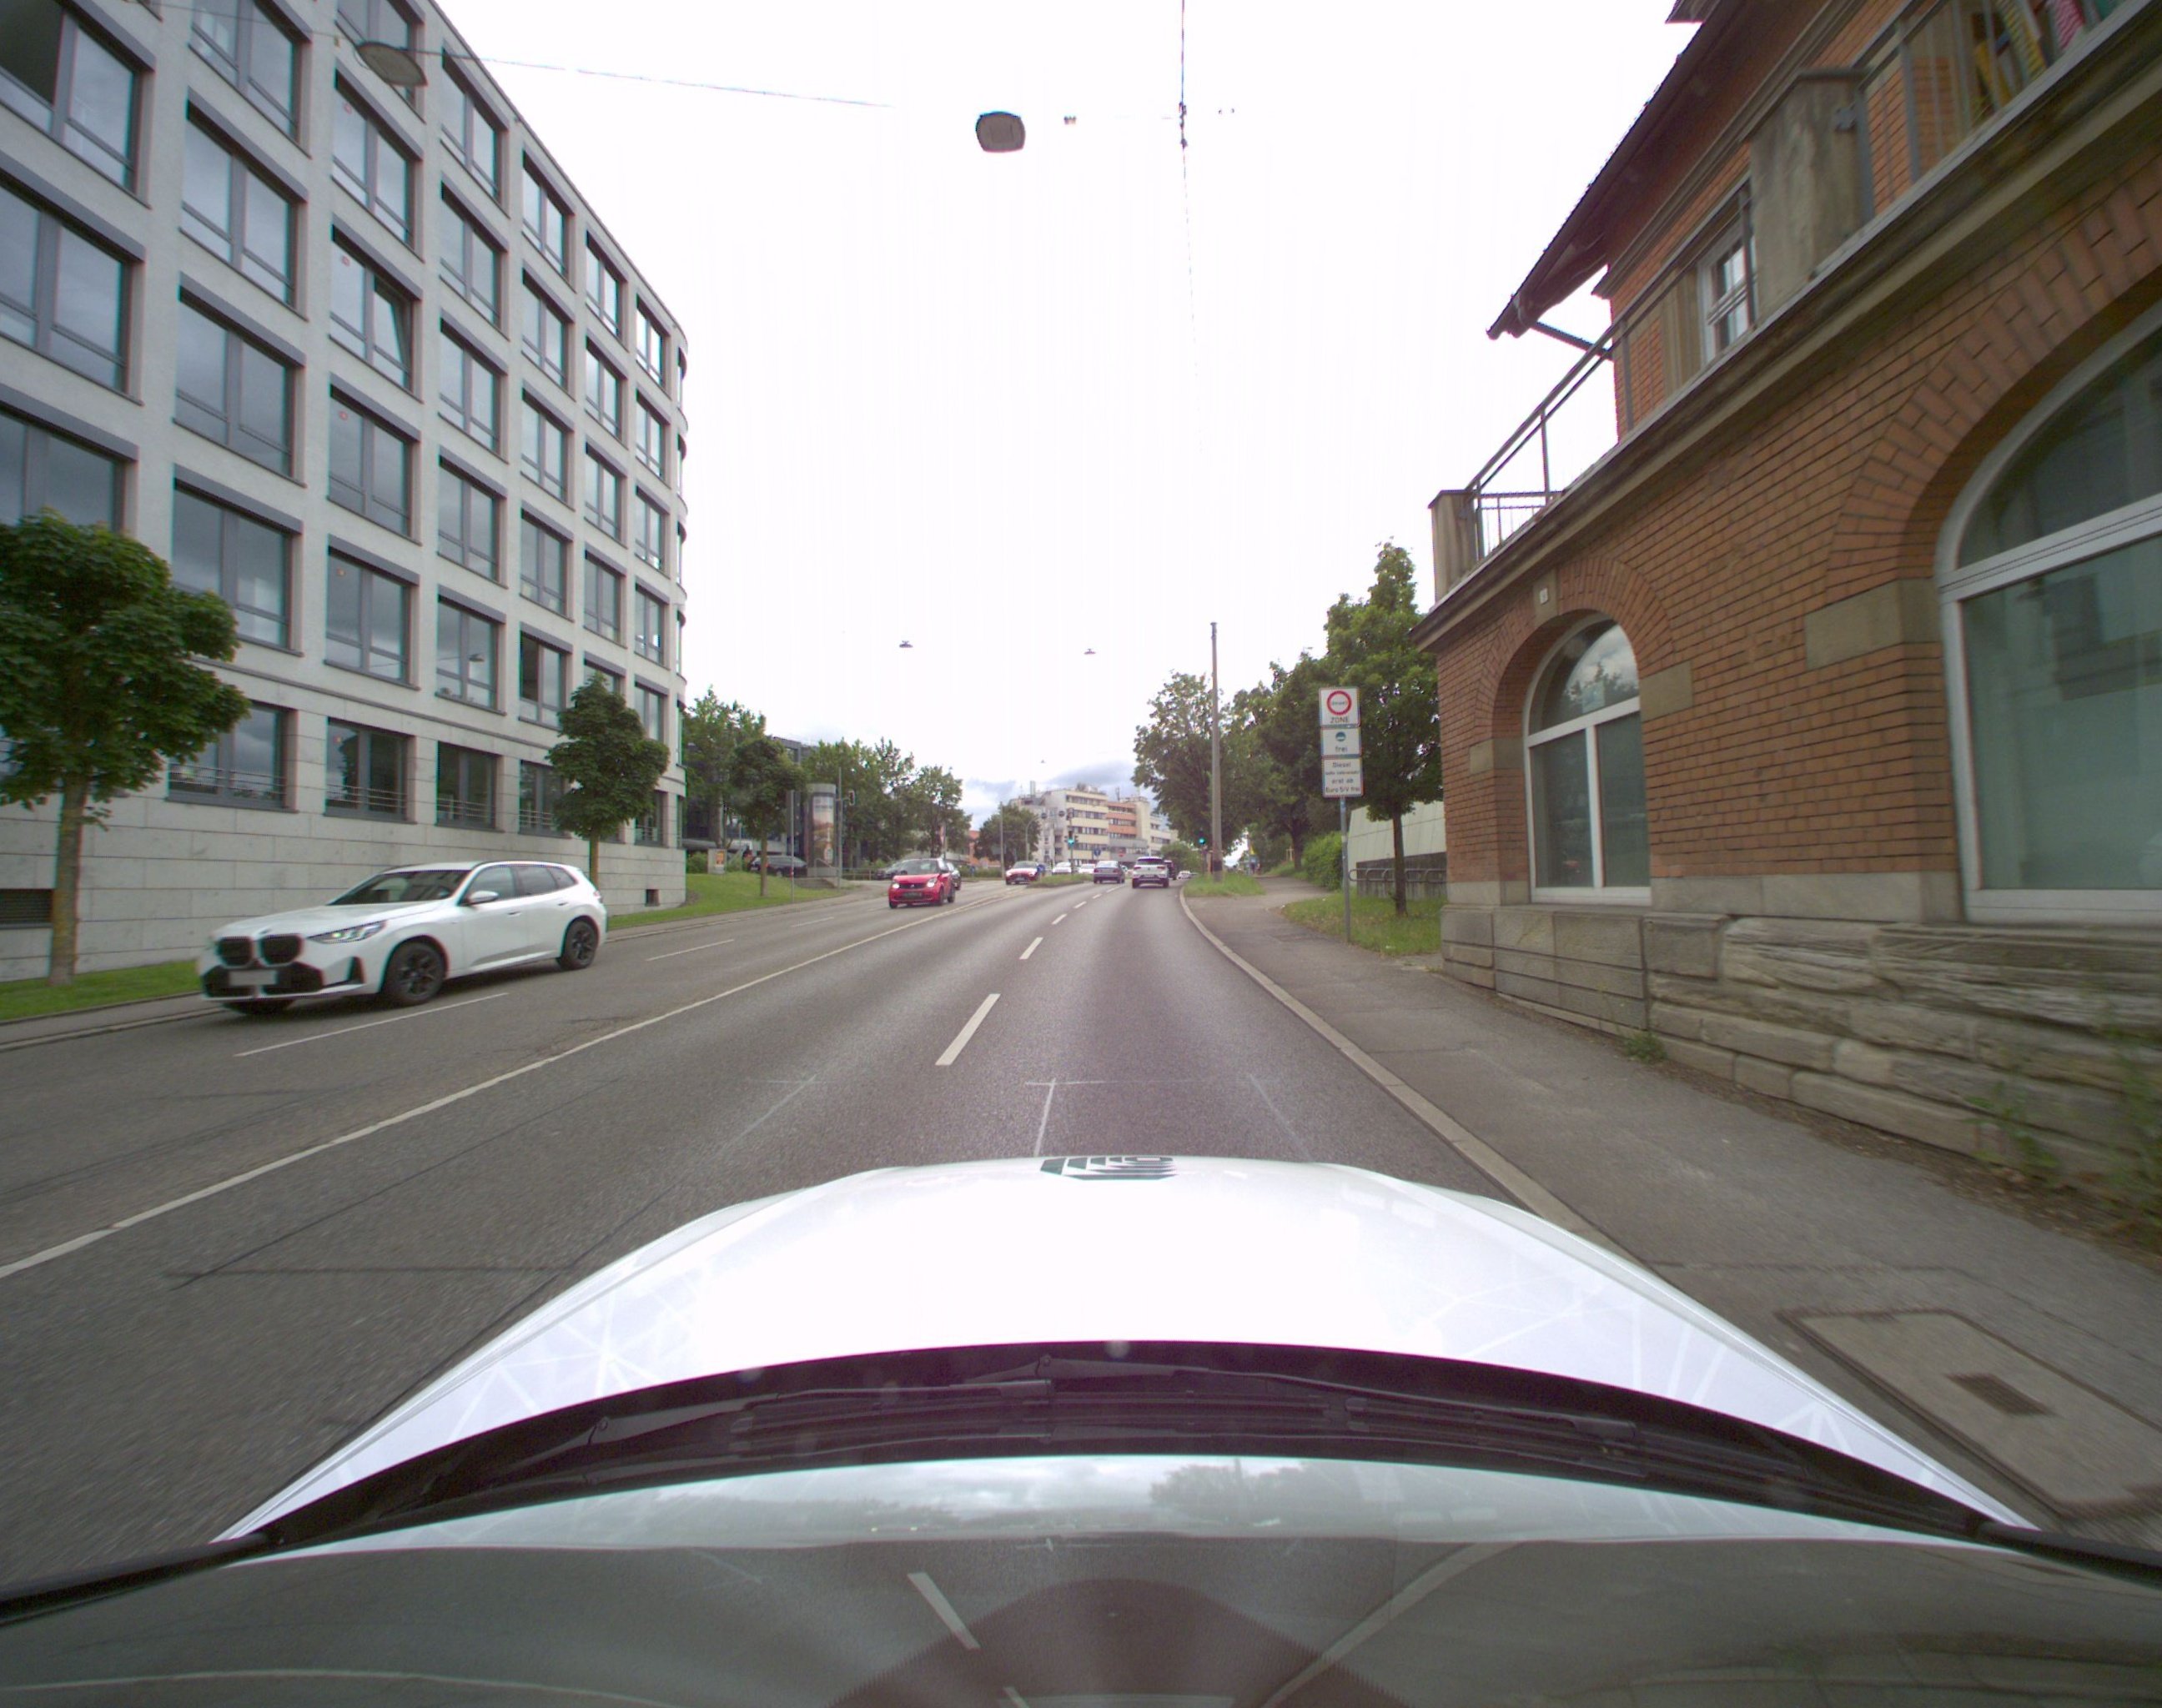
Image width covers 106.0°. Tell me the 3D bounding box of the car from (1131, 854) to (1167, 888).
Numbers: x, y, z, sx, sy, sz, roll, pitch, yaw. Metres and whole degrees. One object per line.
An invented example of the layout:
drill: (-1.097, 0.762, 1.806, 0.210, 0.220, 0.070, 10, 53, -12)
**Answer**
car: (3.440, 0.837, 41.726, 1.692, 1.548, 3.740, 2, 1, 4)

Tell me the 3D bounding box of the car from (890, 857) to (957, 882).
car: (-10.382, 1.018, 53.861, 4.023, 1.544, 1.760, 0, -1, -45)

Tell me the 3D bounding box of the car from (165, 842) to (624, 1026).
car: (-8.389, 0.823, 10.721, 1.862, 1.789, 4.656, -4, 0, 2)

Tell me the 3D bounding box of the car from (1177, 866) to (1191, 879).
car: (13.651, 2.466, 108.268, 1.761, 1.570, 4.292, -1, 0, 6)

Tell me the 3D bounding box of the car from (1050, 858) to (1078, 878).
car: (-1.322, 1.085, 65.435, 1.769, 1.481, 3.985, -1, 0, 5)

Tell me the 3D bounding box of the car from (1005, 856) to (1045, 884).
car: (-3.367, 0.960, 49.683, 1.762, 1.570, 4.291, 0, 0, 5)

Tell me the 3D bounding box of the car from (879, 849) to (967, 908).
car: (-5.201, 0.761, 27.436, 1.862, 1.702, 4.431, -4, 0, 2)

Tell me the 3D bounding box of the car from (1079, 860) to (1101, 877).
car: (0.858, 1.340, 77.323, 1.769, 1.565, 4.005, -1, 0, 5)

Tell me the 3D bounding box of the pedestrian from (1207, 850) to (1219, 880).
pedestrian: (8.353, 0.699, 51.548, 0.639, 1.856, 0.673, -1, -1, 3)

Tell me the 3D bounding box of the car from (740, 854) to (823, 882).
car: (-17.109, 0.765, 46.779, 1.759, 1.463, 4.467, 0, 0, 27)

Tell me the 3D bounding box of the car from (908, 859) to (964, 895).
car: (-7.006, 1.084, 39.760, 1.740, 1.494, 4.210, -4, 0, 2)

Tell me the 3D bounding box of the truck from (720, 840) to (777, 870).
truck: (-27.687, 0.088, 67.867, 1.975, 2.387, 4.024, 0, 0, 28)

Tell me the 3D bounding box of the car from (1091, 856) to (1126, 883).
car: (1.739, 0.911, 50.056, 1.690, 1.516, 3.745, -1, 1, 9)

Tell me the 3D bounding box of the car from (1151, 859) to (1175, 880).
car: (6.365, 1.224, 63.726, 1.693, 1.516, 3.496, -1, -1, 3)
